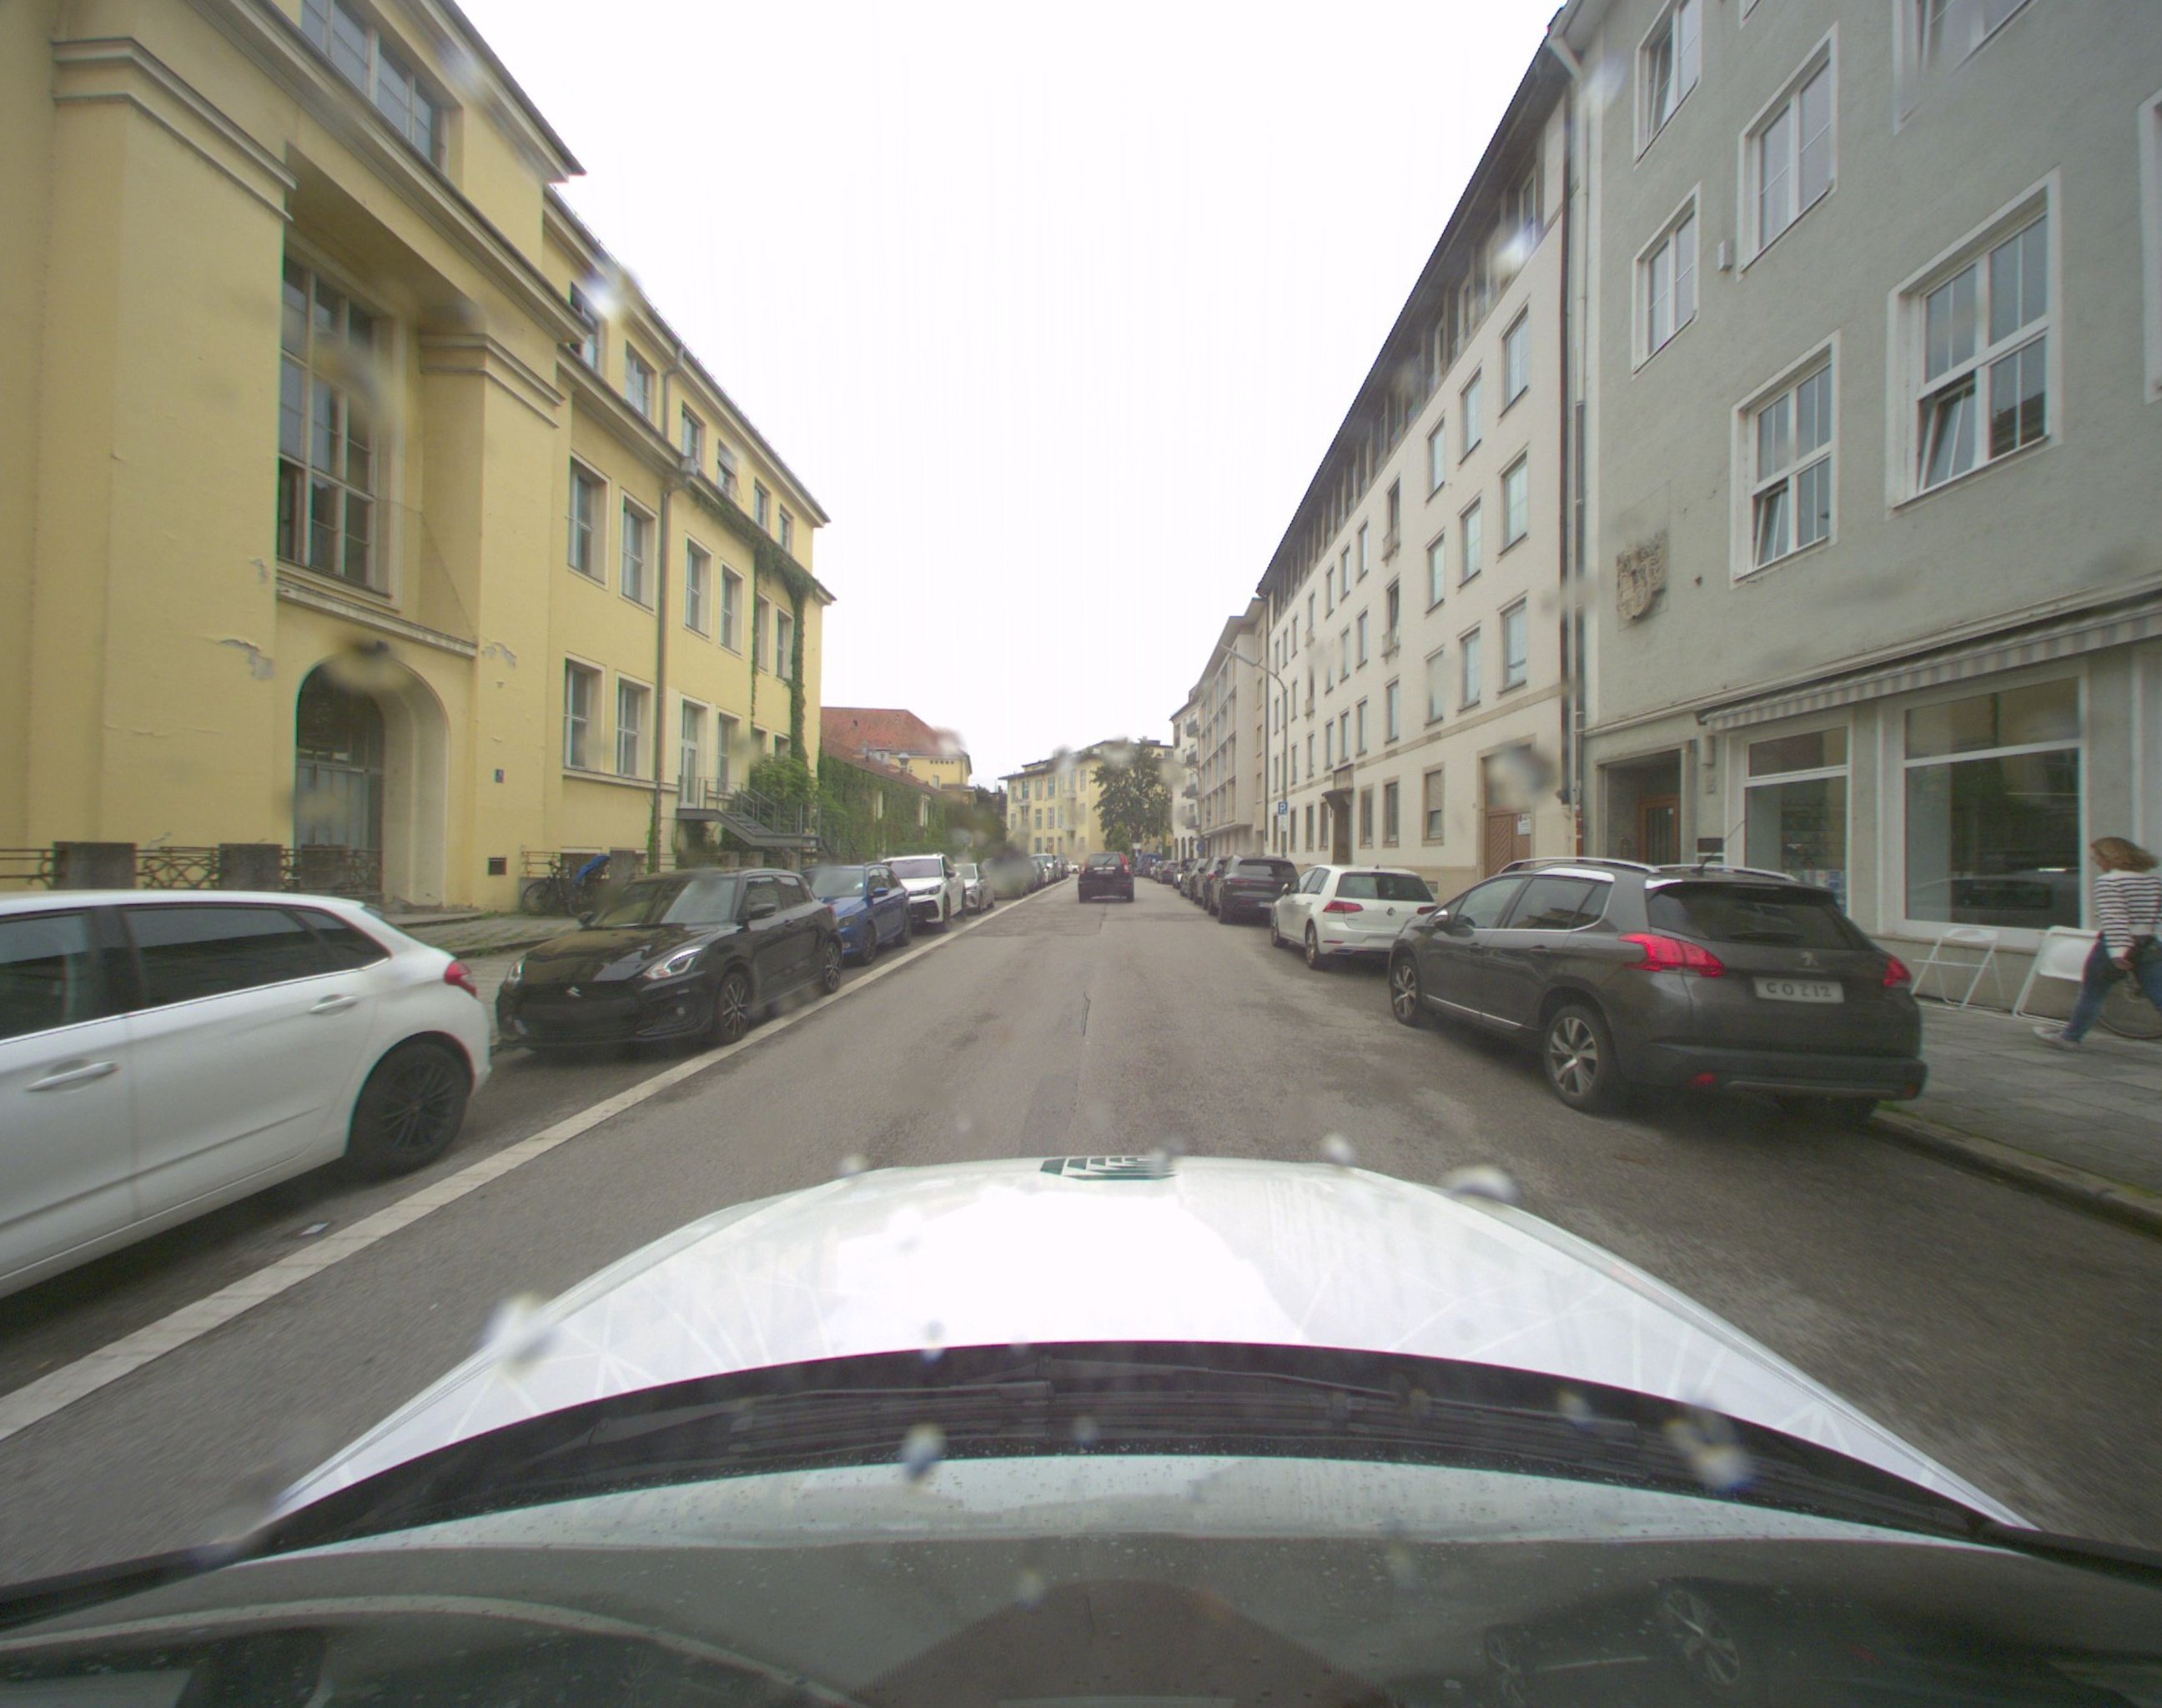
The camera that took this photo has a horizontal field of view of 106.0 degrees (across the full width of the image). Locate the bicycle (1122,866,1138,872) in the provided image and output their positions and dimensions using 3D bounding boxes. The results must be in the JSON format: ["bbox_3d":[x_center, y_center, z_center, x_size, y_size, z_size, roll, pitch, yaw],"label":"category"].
[{"bbox_3d":[6.885,2.148,114.427,2.194,0.779,0.612,1,-1,15],"label":"bicycle"}]

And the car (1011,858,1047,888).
[{"bbox_3d":[-2.647,0.929,42.025,1.573,1.455,3.904,1,0,0],"label":"car"}]

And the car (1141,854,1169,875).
[{"bbox_3d":[6.532,0.913,72.306,1.958,1.816,4.934,0,0,0],"label":"car"}]

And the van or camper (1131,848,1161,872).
[{"bbox_3d":[6.177,0.563,77.830,2.056,2.231,5.431,0,0,-4],"label":"van or camper"}]

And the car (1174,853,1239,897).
[{"bbox_3d":[4.653,0.731,30.752,1.849,1.544,4.818,0,0,2],"label":"car"}]

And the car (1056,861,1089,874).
[{"bbox_3d":[-1.088,1.773,109.694,3.949,1.618,2.012,0,0,28],"label":"car"}]

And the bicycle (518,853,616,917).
[{"bbox_3d":[-10.465,0.621,16.605,1.551,1.189,0.578,3,-1,0],"label":"bicycle"}]

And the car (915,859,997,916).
[{"bbox_3d":[-3.488,0.897,23.340,1.674,1.426,3.894,-2,0,0],"label":"car"}]

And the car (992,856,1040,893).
[{"bbox_3d":[-2.882,0.867,36.923,1.776,1.538,4.148,1,0,0],"label":"car"}]

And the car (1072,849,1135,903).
[{"bbox_3d":[0.841,0.696,28.030,1.987,1.694,4.384,0,0,3],"label":"car"}]

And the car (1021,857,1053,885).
[{"bbox_3d":[-2.499,0.956,47.066,1.573,1.492,3.730,2,0,0],"label":"car"}]

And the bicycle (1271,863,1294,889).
[{"bbox_3d":[9.504,1.030,38.521,0.656,1.163,2.029,0,-1,2],"label":"bicycle"}]

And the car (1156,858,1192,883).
[{"bbox_3d":[5.734,1.002,50.772,1.790,1.420,4.483,0,0,1],"label":"car"}]

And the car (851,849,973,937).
[{"bbox_3d":[-3.535,0.759,17.837,1.674,1.634,4.356,-2,0,0],"label":"car"}]

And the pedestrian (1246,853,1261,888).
[{"bbox_3d":[8.207,0.780,38.808,0.594,1.654,0.631,0,0,2],"label":"pedestrian"}]

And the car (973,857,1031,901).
[{"bbox_3d":[-2.966,0.896,31.346,1.776,1.538,4.195,1,0,0],"label":"car"}]

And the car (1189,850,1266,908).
[{"bbox_3d":[4.395,0.706,24.956,1.771,1.584,4.275,-1,0,3],"label":"car"}]

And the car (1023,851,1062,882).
[{"bbox_3d":[-2.416,0.751,52.247,1.985,1.875,4.762,0,0,3],"label":"car"}]

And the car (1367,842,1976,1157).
[{"bbox_3d":[3.840,0.777,6.330,1.687,1.583,4.081,3,0,-1],"label":"car"}]

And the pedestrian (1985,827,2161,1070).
[{"bbox_3d":[7.347,0.634,5.867,0.731,1.625,0.828,-1,-1,2],"label":"pedestrian"}]

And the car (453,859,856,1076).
[{"bbox_3d":[-3.669,0.843,7.939,1.673,1.495,3.987,-2,0,2],"label":"car"}]

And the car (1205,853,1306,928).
[{"bbox_3d":[4.060,0.785,19.574,1.770,1.584,4.334,1,0,4],"label":"car"}]

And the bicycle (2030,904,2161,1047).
[{"bbox_3d":[8.138,0.921,6.098,0.329,1.004,1.522,0,0,3],"label":"bicycle"}]

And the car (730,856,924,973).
[{"bbox_3d":[-3.802,0.824,12.939,1.673,1.505,3.975,-2,0,2],"label":"car"}]

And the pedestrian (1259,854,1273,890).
[{"bbox_3d":[8.279,0.793,36.433,0.529,1.584,0.560,0,0,2],"label":"pedestrian"}]

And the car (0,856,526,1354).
[{"bbox_3d":[-4.203,0.808,2.741,1.717,1.527,4.089,-2,0,2],"label":"car"}]

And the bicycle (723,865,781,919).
[{"bbox_3d":[-7.674,0.863,19.070,0.574,1.189,1.563,3,0,3],"label":"bicycle"}]

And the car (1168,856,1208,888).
[{"bbox_3d":[5.293,0.859,40.682,1.665,1.535,3.883,0,0,3],"label":"car"}]

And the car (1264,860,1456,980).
[{"bbox_3d":[4.040,0.859,12.513,1.685,1.464,4.086,3,0,3],"label":"car"}]

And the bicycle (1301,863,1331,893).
[{"bbox_3d":[9.163,0.919,31.801,0.656,1.126,2.029,0,-1,2],"label":"bicycle"}]
